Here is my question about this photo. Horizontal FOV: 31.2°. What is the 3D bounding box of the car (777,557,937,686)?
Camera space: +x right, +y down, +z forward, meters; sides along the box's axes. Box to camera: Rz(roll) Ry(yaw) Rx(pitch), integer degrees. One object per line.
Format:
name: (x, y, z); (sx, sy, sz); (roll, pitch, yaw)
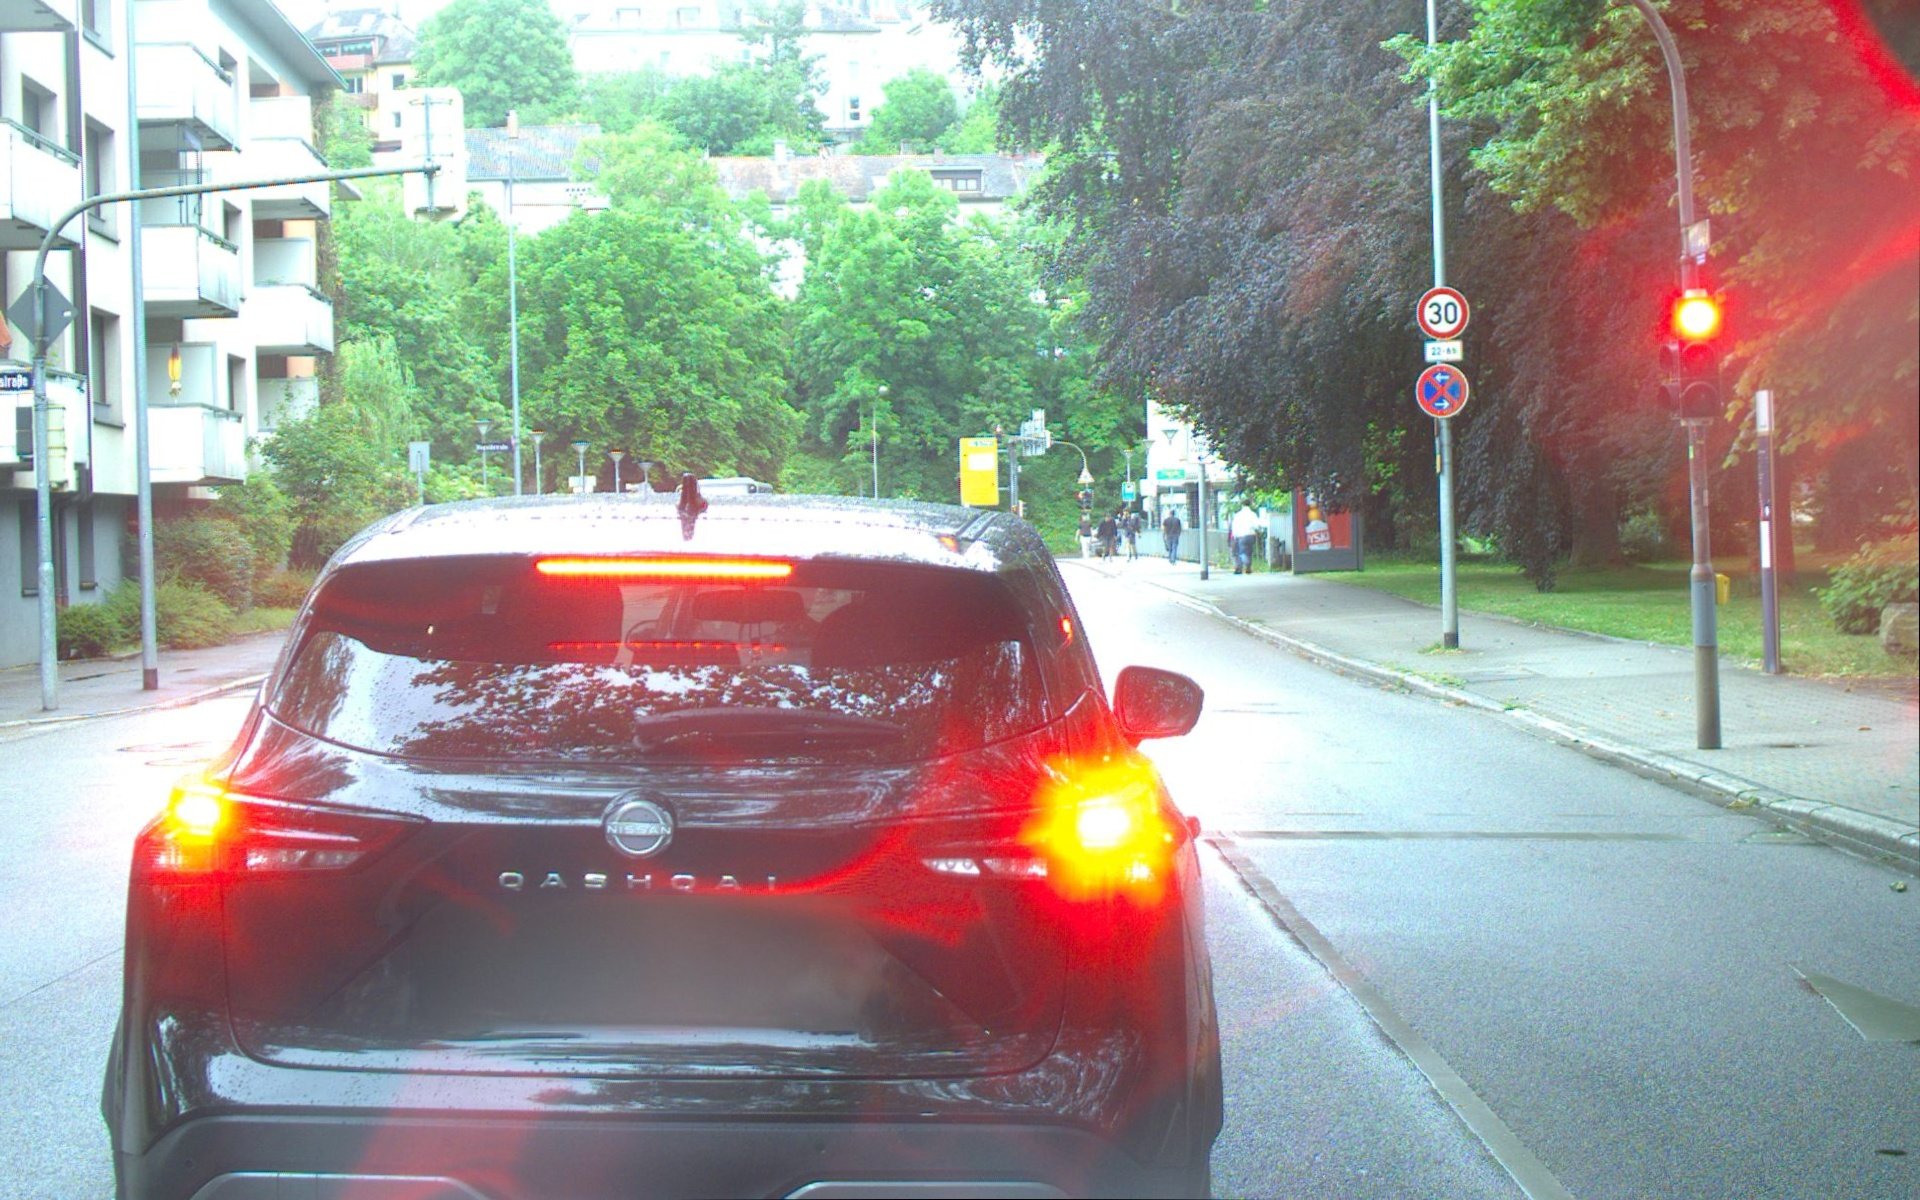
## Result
car: (-1.230, 0.216, 41.074); (1.808, 1.412, 4.031); (0, 1, -2)

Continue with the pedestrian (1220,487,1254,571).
pedestrian: (6.751, -1.730, 83.788); (0.675, 2.007, 0.777); (-2, 1, -1)

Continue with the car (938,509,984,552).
car: (0.033, -2.760, 136.607); (1.750, 1.628, 3.635); (-2, 1, 0)

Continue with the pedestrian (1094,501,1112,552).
pedestrian: (4.638, -2.380, 111.711); (0.544, 1.645, 0.490); (1, 0, 0)

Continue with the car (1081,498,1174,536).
car: (7.939, -3.938, 163.352); (3.986, 1.678, 2.001); (-2, 1, -10)

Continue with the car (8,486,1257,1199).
car: (-0.503, 0.618, 7.012); (1.806, 1.584, 4.000); (1, 1, -1)

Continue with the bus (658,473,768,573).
bus: (-7.866, -2.448, 110.921); (2.766, 2.964, 11.782); (-2, 1, -1)

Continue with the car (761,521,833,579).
car: (-4.171, -1.289, 88.447); (1.624, 1.410, 3.455); (-2, 1, 0)

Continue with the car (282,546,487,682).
car: (-6.791, 0.124, 40.944); (1.808, 1.412, 4.031); (-3, 1, -2)

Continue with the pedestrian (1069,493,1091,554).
pedestrian: (4.282, -2.734, 122.799); (0.768, 2.176, 0.711); (1, 0, 3)

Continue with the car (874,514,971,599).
car: (-0.651, -0.787, 61.066); (1.624, 1.410, 3.455); (-2, 1, 0)

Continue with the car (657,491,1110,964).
car: (-0.252, 0.437, 14.681); (1.622, 1.703, 3.771); (-2, 1, 1)

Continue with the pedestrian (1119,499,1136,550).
pedestrian: (5.385, -2.426, 110.622); (0.514, 1.650, 0.550); (1, 0, -1)

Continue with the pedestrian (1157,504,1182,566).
pedestrian: (6.094, -1.886, 100.226); (0.618, 1.773, 0.551); (-2, 1, -1)

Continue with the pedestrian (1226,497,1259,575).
pedestrian: (6.530, -1.484, 79.479); (0.618, 1.773, 0.778); (-2, 1, -1)
